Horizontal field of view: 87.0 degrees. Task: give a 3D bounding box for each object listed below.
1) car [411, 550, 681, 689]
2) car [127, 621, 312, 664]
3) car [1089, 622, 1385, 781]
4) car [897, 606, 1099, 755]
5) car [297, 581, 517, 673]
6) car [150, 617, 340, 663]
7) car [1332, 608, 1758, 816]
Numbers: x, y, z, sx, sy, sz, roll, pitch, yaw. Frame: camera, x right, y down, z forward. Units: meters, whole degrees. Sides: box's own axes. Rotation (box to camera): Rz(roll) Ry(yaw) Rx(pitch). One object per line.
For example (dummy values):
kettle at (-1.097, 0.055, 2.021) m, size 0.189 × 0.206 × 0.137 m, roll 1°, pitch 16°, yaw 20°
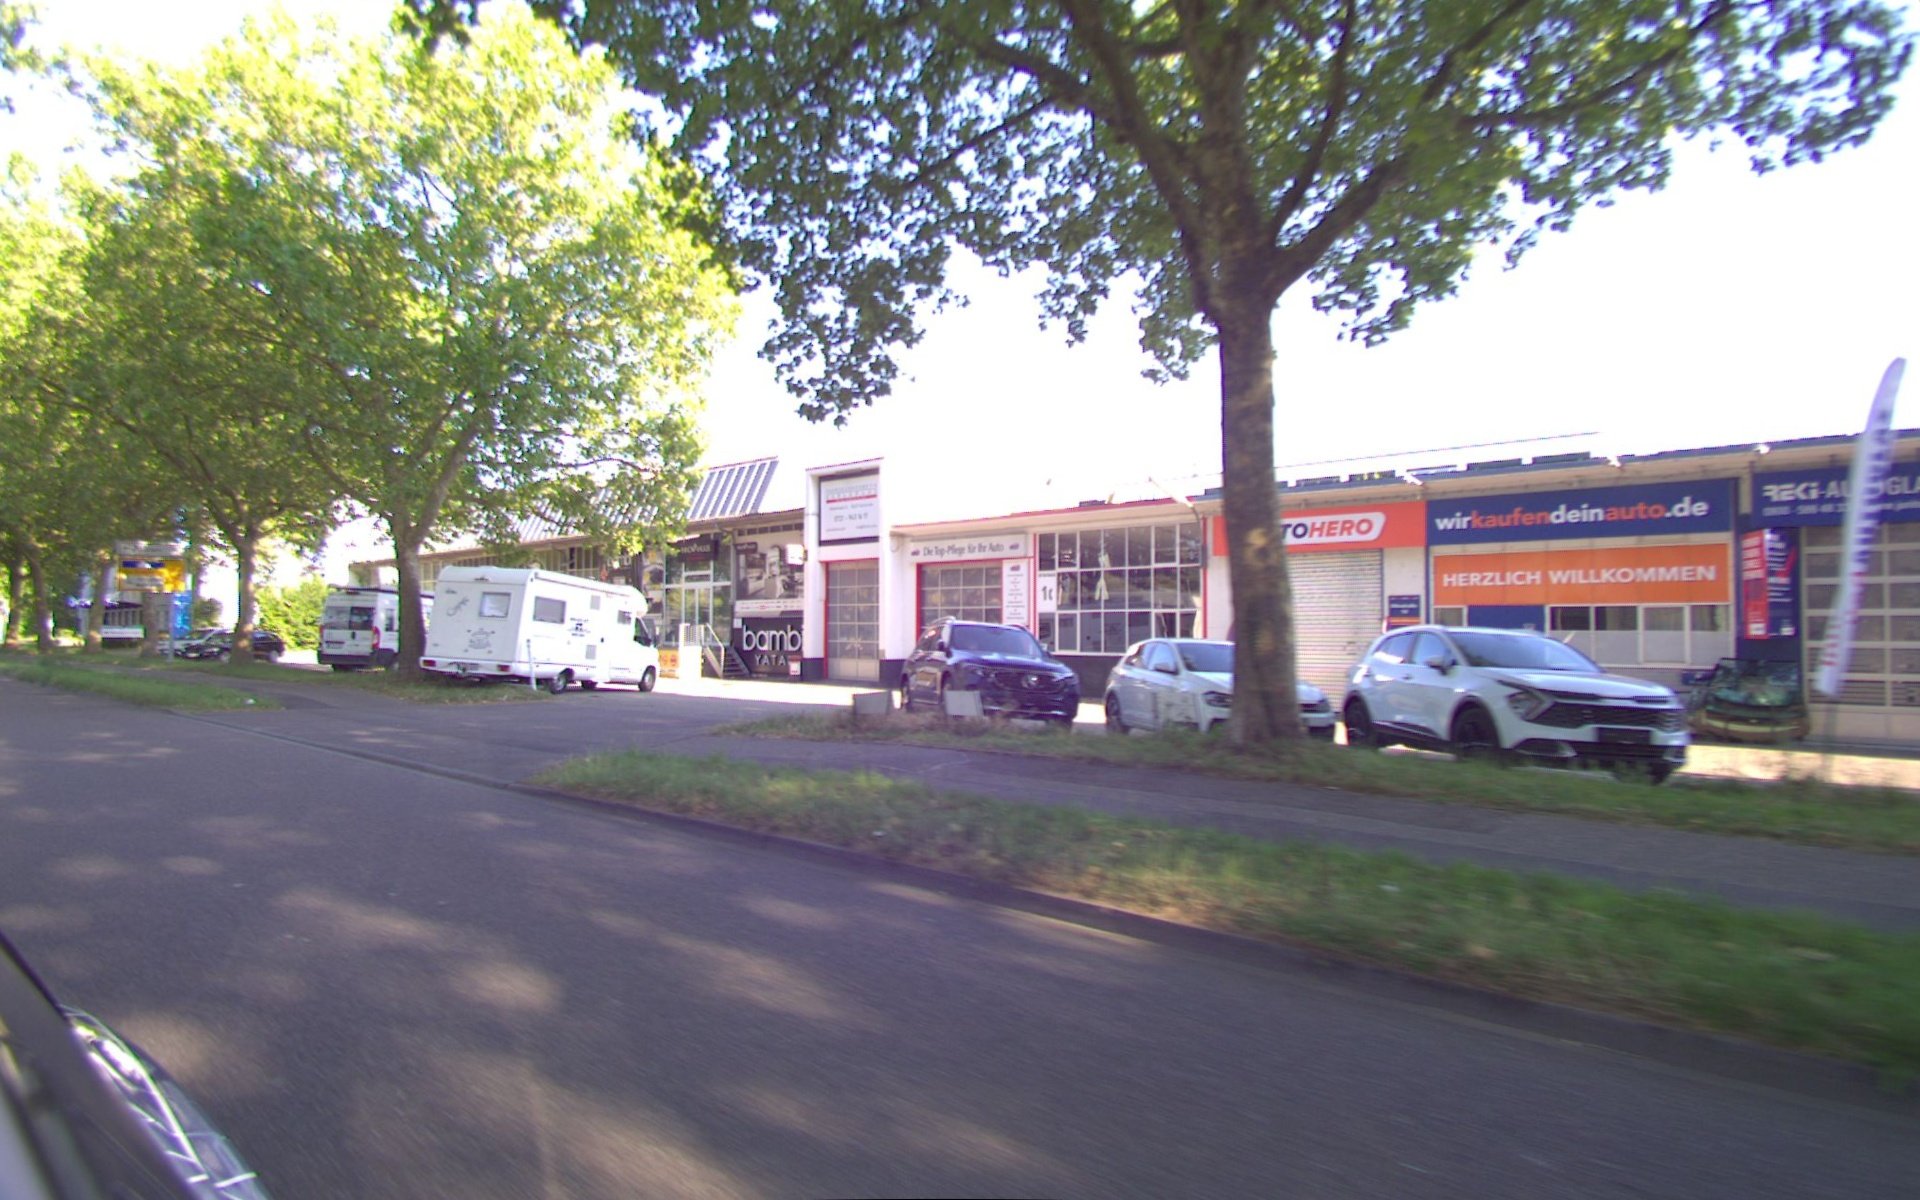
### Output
car at (-9.709, 0.711, 24.779) m, size 2.575 × 2.875 × 6.931 m, roll -1°, pitch -5°, yaw 12°
car at (-33.740, 2.019, 46.434) m, size 2.708 × 1.693 × 6.322 m, roll -2°, pitch -5°, yaw 22°
car at (3.300, 1.128, 12.986) m, size 1.967 × 1.582 × 4.061 m, roll -1°, pitch 0°, yaw -12°
car at (0.373, 1.031, 15.075) m, size 1.967 × 1.854 × 4.259 m, roll -1°, pitch 0°, yaw -12°
car at (-17.086, 0.992, 31.869) m, size 2.574 × 2.517 × 6.303 m, roll -1°, pitch -5°, yaw 11°
car at (-31.372, 1.860, 44.734) m, size 2.708 × 1.693 × 6.373 m, roll -2°, pitch -5°, yaw 22°
car at (5.952, 1.003, 11.077) m, size 1.971 × 1.764 × 4.315 m, roll -1°, pitch 0°, yaw -3°
